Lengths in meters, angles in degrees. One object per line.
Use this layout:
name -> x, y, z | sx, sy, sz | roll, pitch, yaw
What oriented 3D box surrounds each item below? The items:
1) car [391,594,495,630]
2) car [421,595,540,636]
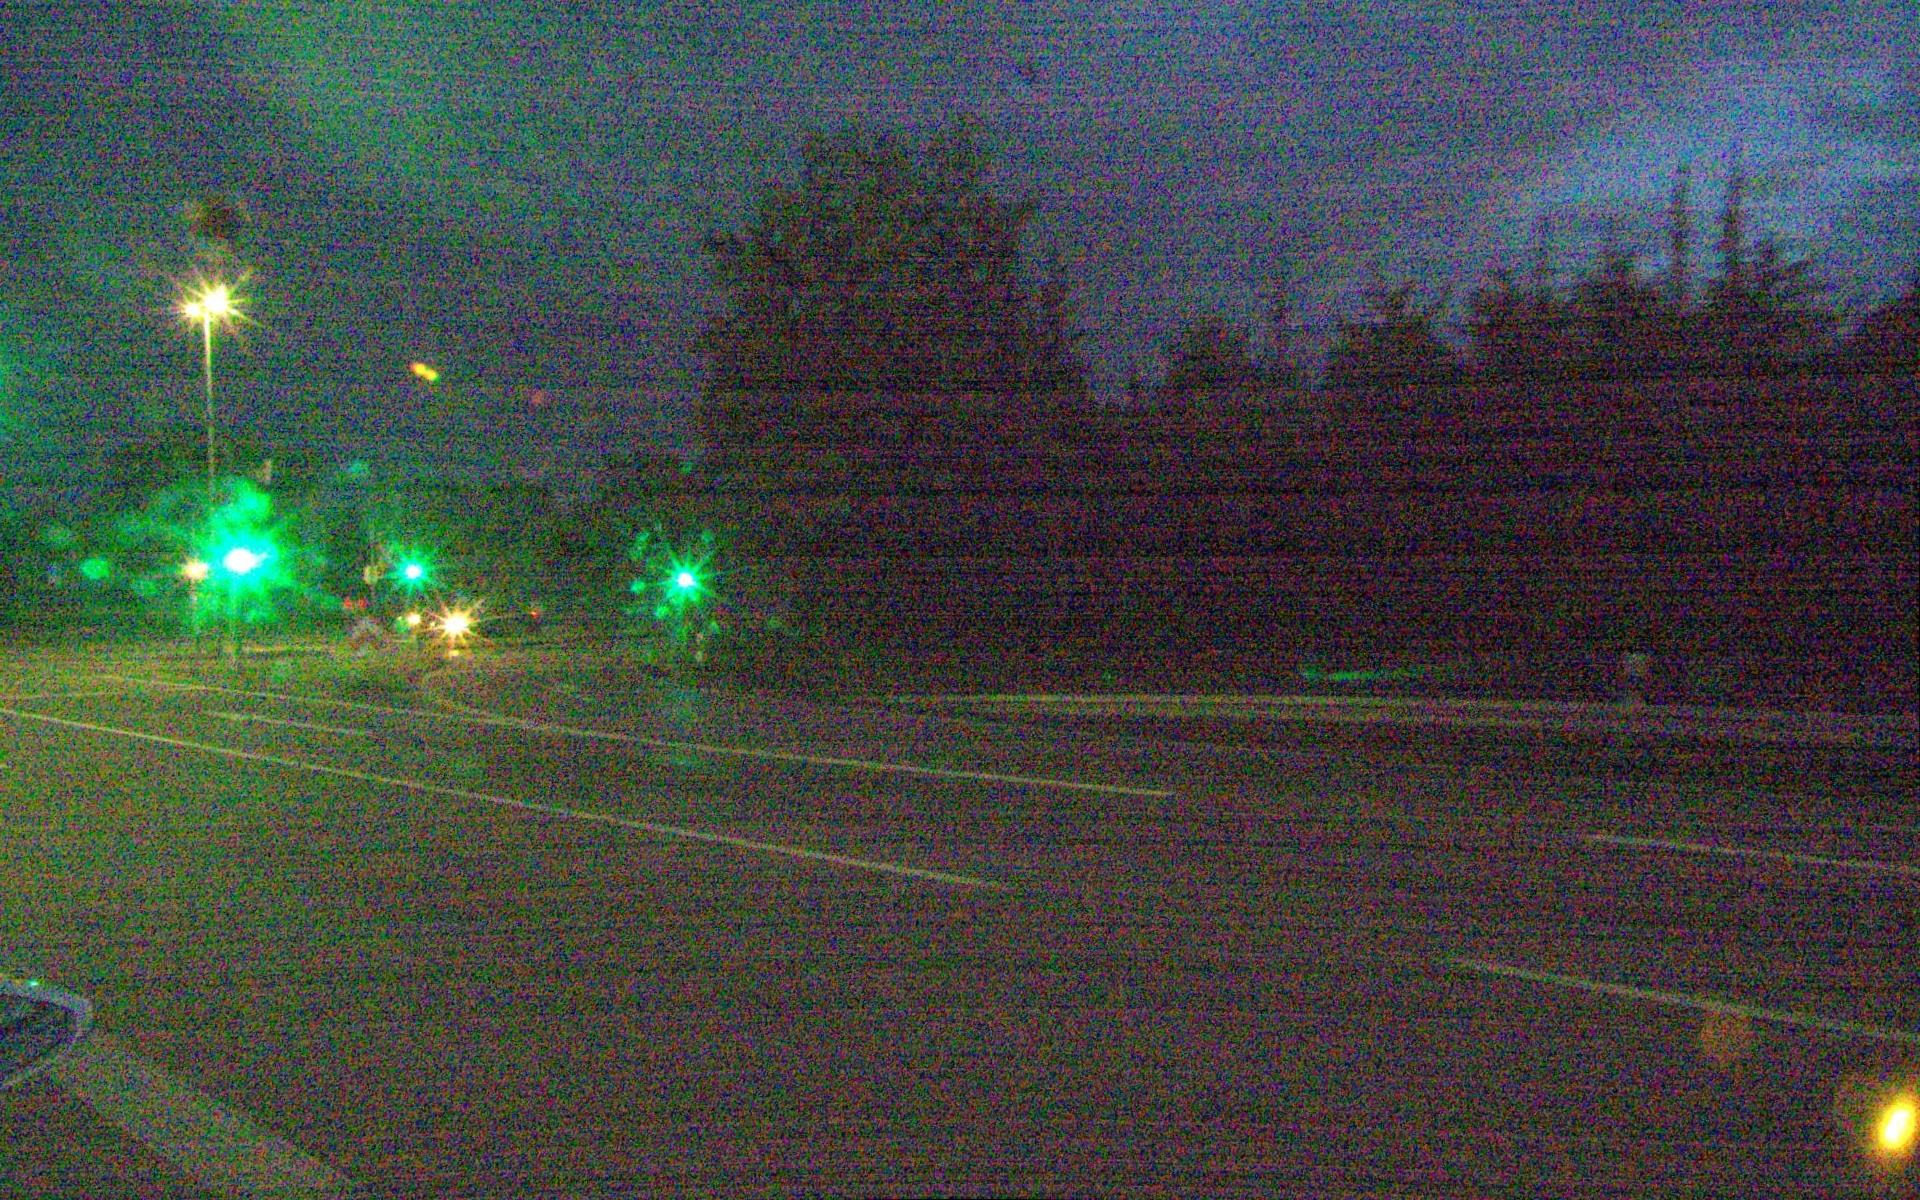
car -> -24.131, 0.528, 46.881 | 1.871, 1.590, 3.982 | 1, 0, 29
car -> -19.691, 0.632, 41.285 | 1.972, 1.590, 4.069 | 1, 0, 29
